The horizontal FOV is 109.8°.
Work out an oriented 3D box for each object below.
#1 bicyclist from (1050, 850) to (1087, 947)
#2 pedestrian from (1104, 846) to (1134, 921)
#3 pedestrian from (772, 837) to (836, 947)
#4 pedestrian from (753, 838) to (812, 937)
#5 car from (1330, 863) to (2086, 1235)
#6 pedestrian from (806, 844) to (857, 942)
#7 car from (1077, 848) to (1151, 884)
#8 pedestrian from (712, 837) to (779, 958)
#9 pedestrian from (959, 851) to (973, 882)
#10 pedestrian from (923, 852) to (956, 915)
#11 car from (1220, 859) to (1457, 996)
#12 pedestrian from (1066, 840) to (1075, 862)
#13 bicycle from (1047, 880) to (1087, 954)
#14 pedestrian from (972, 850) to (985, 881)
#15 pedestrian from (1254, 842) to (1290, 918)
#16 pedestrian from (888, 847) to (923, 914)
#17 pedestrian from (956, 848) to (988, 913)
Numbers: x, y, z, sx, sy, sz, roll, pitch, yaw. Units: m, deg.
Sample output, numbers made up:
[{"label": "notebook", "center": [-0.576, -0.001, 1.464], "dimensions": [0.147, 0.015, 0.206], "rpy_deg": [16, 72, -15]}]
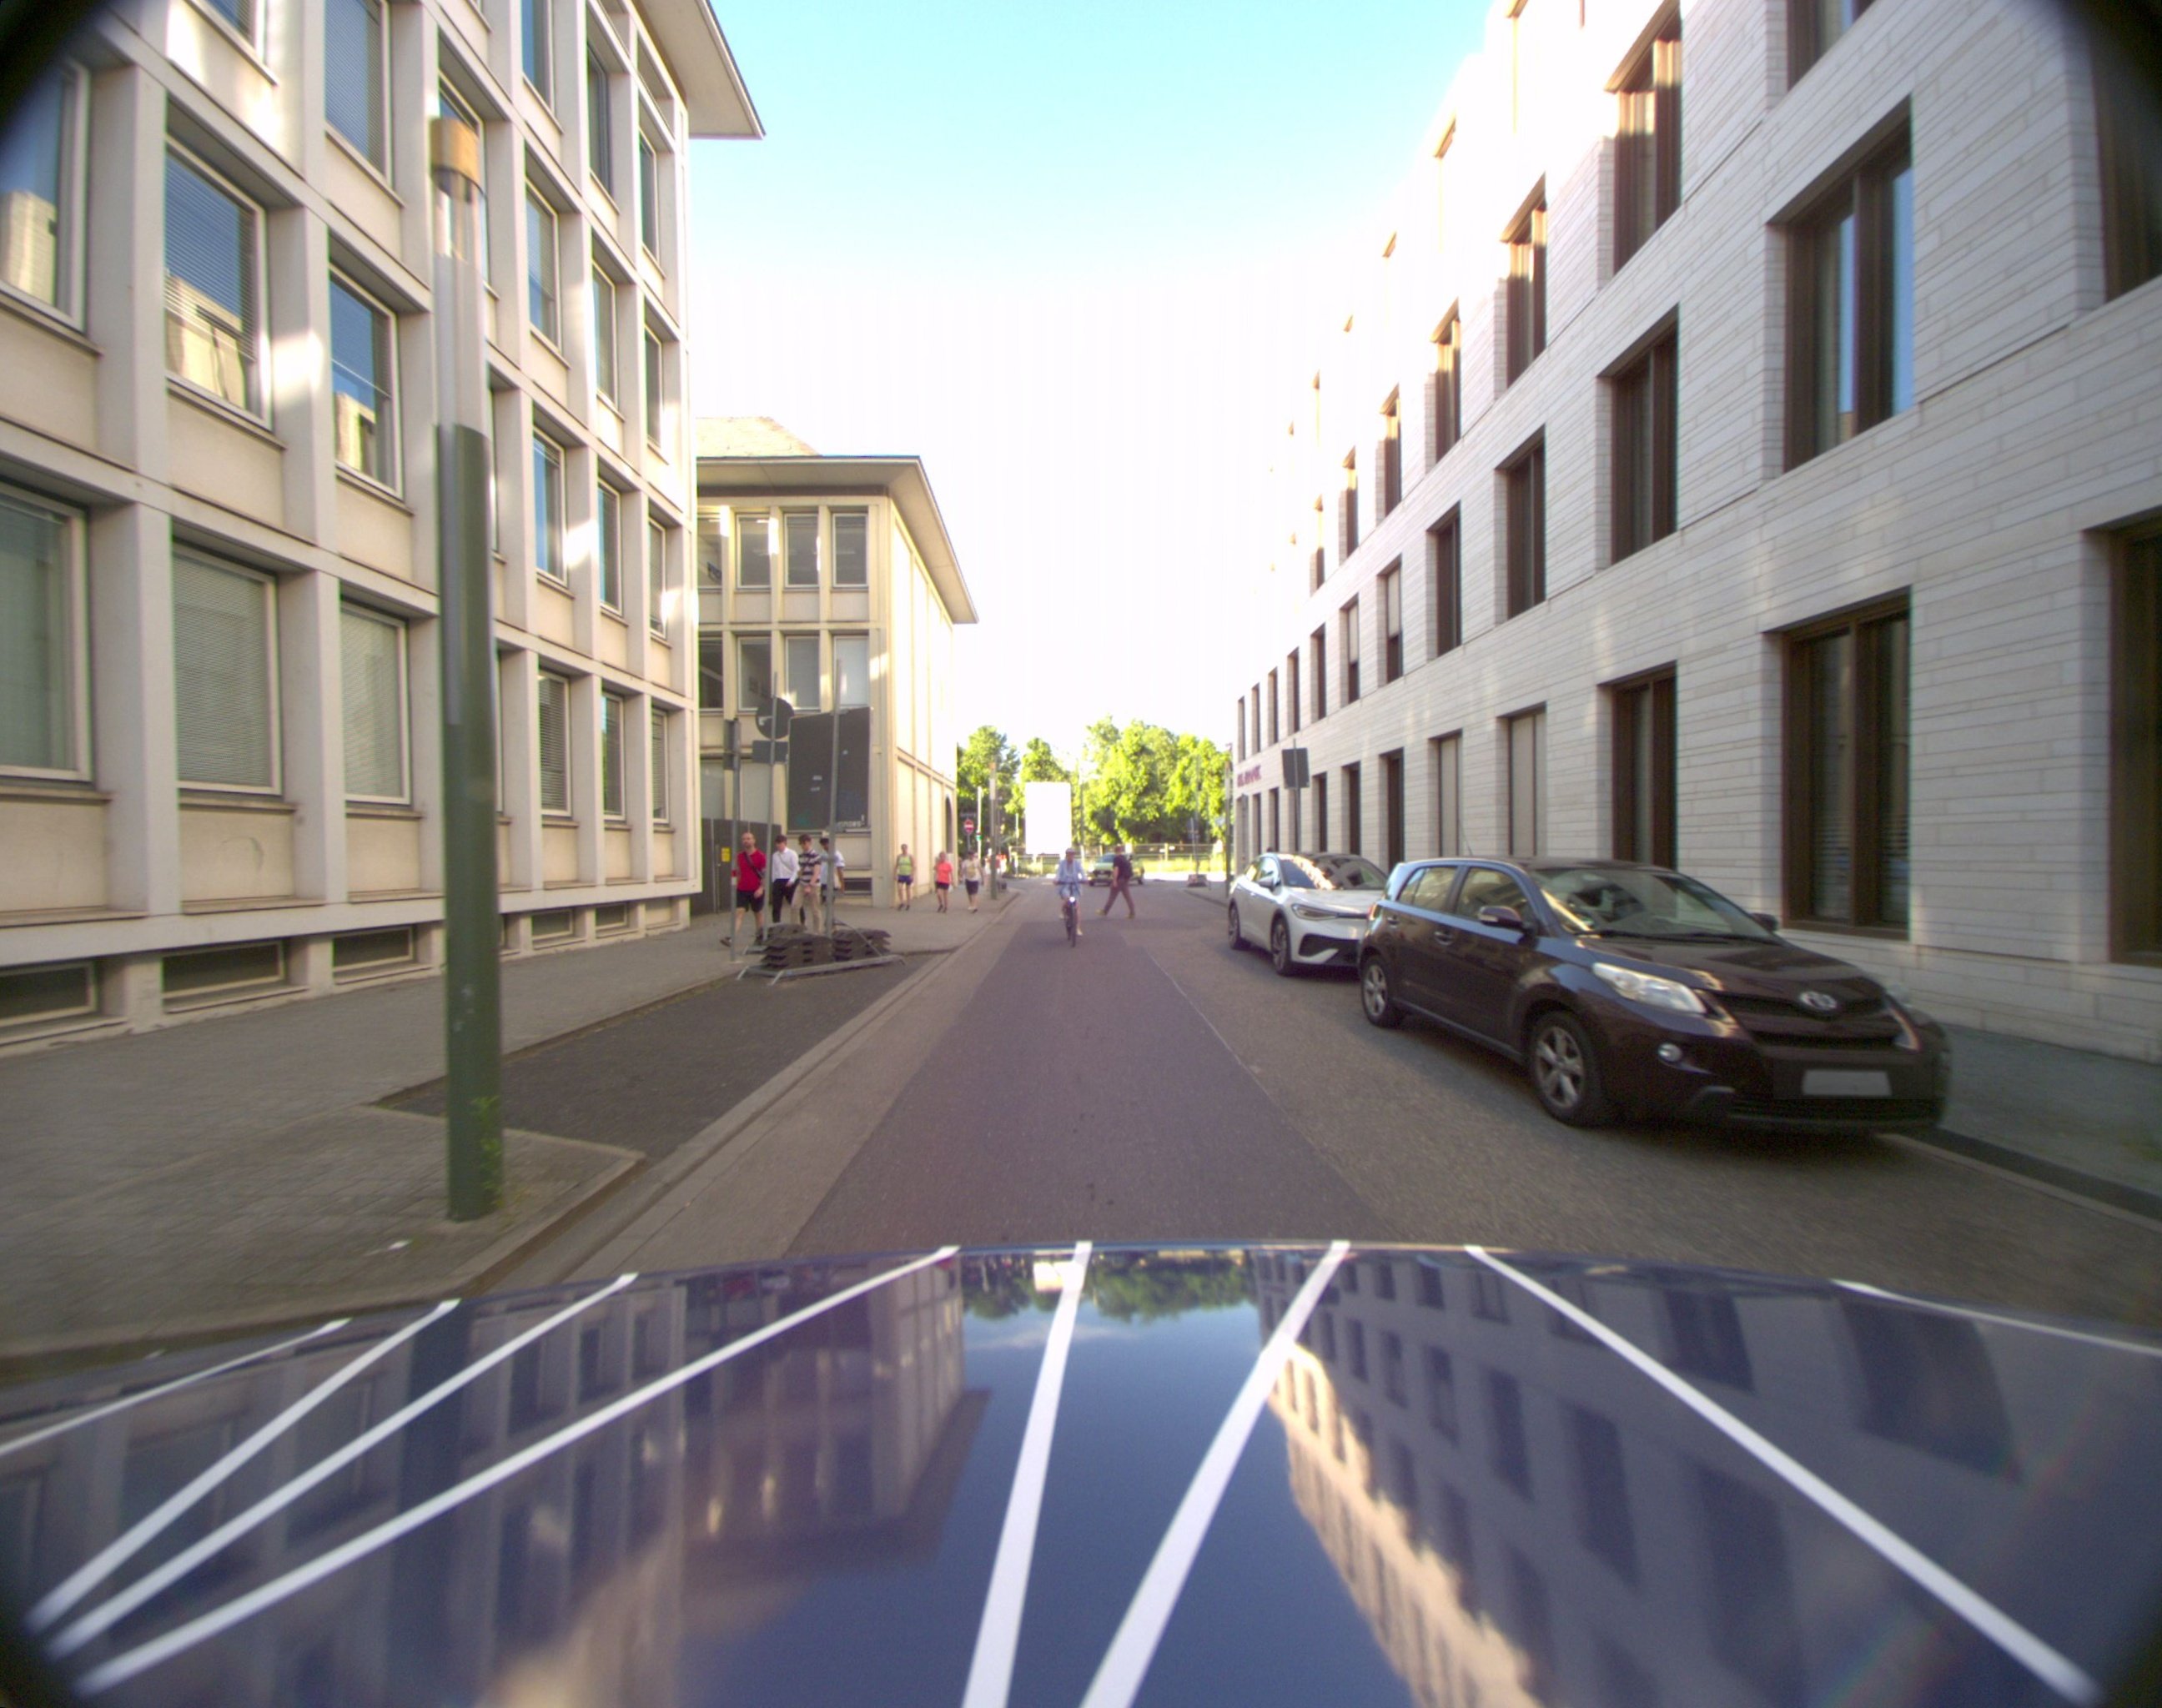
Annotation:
[{"label": "bicyclist", "center": [-0.218, 0.775, 13.586], "dimensions": [0.585, 1.679, 0.538], "rpy_deg": [-1, 2, 1]}, {"label": "pedestrian", "center": [0.926, 0.716, 18.647], "dimensions": [0.643, 1.780, 0.575], "rpy_deg": [2, 2, -1]}, {"label": "pedestrian", "center": [-4.697, 0.632, 12.911], "dimensions": [0.685, 1.768, 0.693], "rpy_deg": [5, 1, 1]}, {"label": "pedestrian", "center": [-5.599, 0.607, 14.277], "dimensions": [0.685, 1.768, 0.693], "rpy_deg": [5, 1, 1]}, {"label": "car", "center": [3.452, 0.872, 5.445], "dimensions": [1.827, 1.532, 4.263], "rpy_deg": [-1, 0, -2]}, {"label": "pedestrian", "center": [-4.628, 0.701, 14.134], "dimensions": [0.685, 1.768, 0.693], "rpy_deg": [1, 1, 1]}, {"label": "car", "center": [1.635, 0.527, 35.472], "dimensions": [1.995, 1.451, 4.442], "rpy_deg": [-1, 1, 23]}, {"label": "pedestrian", "center": [-5.113, 0.646, 11.615], "dimensions": [0.685, 1.768, 0.593], "rpy_deg": [3, 1, 1]}, {"label": "pedestrian", "center": [-6.158, 0.682, 40.675], "dimensions": [0.626, 1.633, 0.623], "rpy_deg": [-2, 2, -6]}, {"label": "pedestrian", "center": [-3.705, 0.763, 19.938], "dimensions": [0.685, 1.627, 0.693], "rpy_deg": [1, 1, 1]}, {"label": "car", "center": [3.353, 0.861, 10.922], "dimensions": [1.827, 1.532, 4.446], "rpy_deg": [1, 0, -1]}, {"label": "pedestrian", "center": [-0.891, -0.224, 62.900], "dimensions": [0.623, 1.773, 0.626], "rpy_deg": [-2, 2, -6]}, {"label": "bicycle", "center": [-0.217, 1.069, 13.548], "dimensions": [0.595, 1.077, 2.310], "rpy_deg": [-1, 1, 1]}, {"label": "pedestrian", "center": [-5.589, 0.621, 41.482], "dimensions": [0.626, 1.604, 0.623], "rpy_deg": [-2, 2, -6]}, {"label": "pedestrian", "center": [4.631, 0.611, 18.483], "dimensions": [0.645, 1.780, 0.816], "rpy_deg": [-1, 2, 0]}, {"label": "pedestrian", "center": [-4.600, 0.680, 19.978], "dimensions": [0.685, 1.706, 0.693], "rpy_deg": [2, 1, 1]}, {"label": "pedestrian", "center": [-2.971, 0.716, 20.780], "dimensions": [0.685, 1.706, 0.693], "rpy_deg": [3, 1, 1]}]
